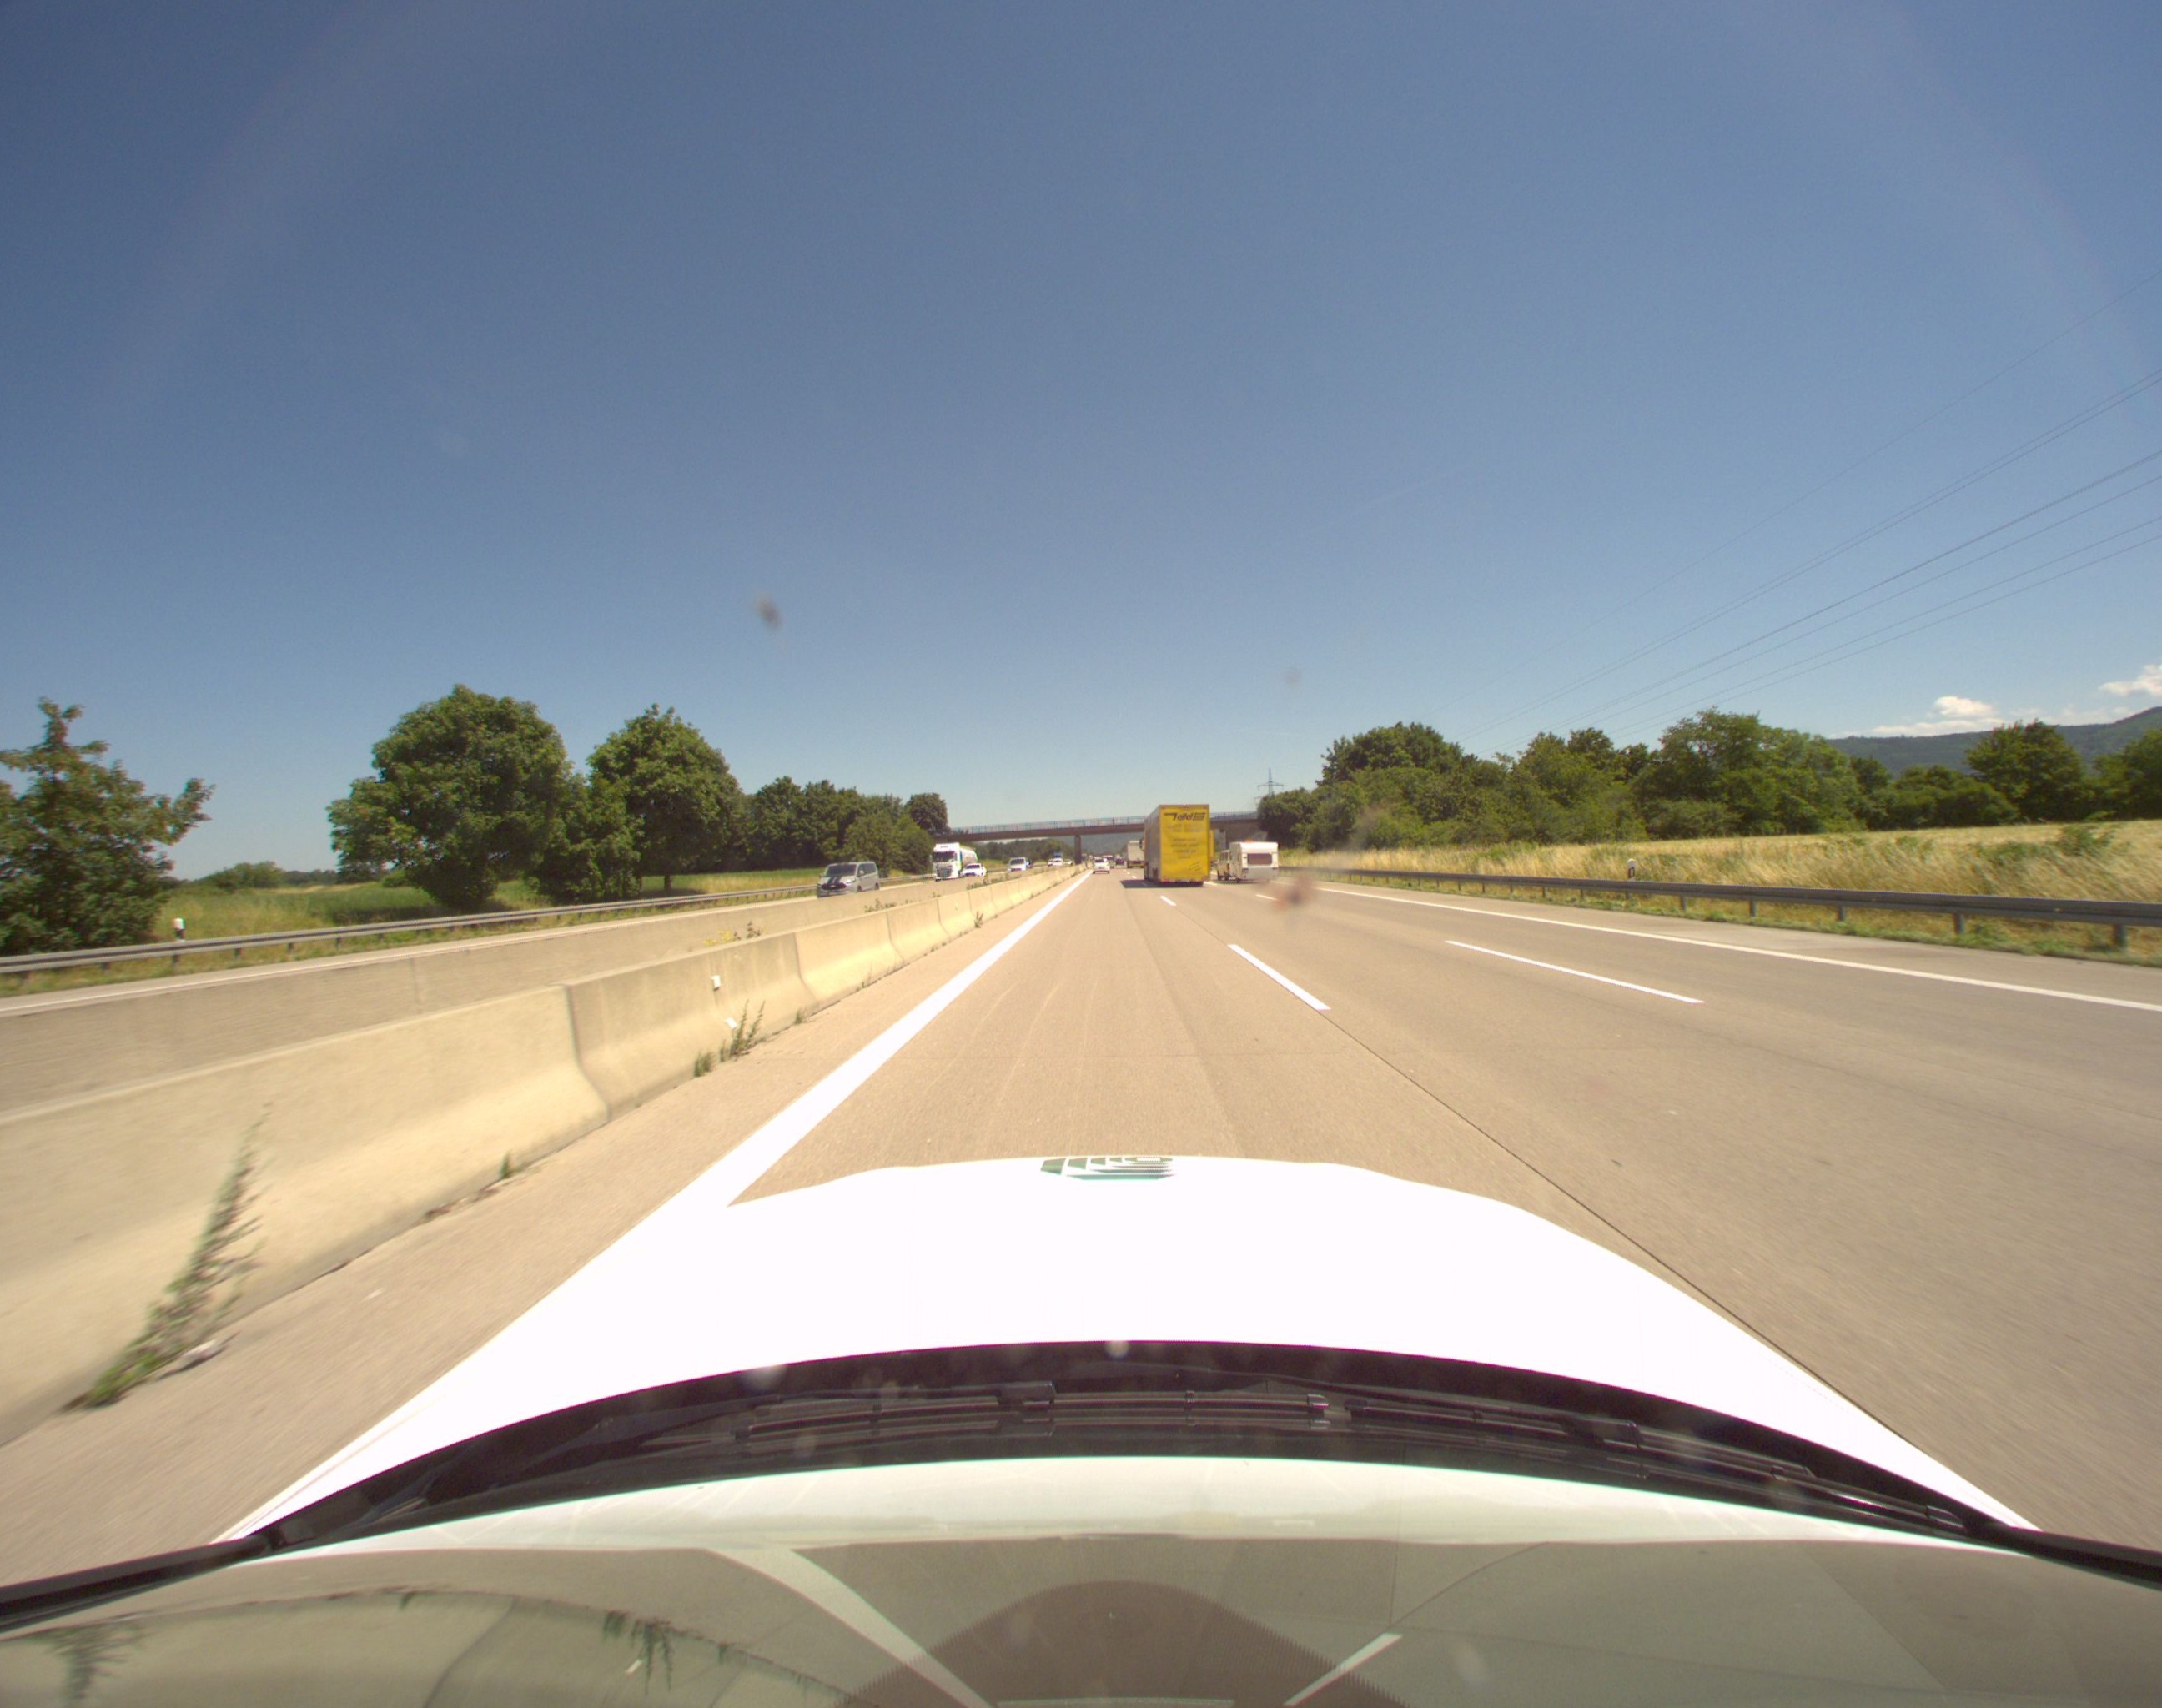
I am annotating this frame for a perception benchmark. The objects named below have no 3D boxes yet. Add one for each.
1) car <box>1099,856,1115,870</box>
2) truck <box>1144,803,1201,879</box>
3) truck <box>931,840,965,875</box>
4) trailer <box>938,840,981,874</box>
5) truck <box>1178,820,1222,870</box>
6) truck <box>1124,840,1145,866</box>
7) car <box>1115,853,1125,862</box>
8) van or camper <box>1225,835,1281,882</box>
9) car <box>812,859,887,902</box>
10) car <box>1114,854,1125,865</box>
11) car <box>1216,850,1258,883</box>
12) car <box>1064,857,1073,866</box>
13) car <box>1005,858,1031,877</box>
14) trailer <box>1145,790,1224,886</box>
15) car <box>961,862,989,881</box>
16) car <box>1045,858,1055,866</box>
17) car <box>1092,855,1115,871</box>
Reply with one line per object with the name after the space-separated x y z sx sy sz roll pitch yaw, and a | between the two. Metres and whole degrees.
3.752 1.315 118.918 2.245 2.013 4.300 0 0 3 | car
5.738 -0.782 52.113 3.203 4.563 5.839 0 0 2 | truck
-14.076 0.344 86.519 2.592 3.589 4.721 0 0 2 | truck
-13.844 0.297 93.794 2.564 3.630 12.860 0 0 2 | trailer
11.031 -0.788 76.353 2.987 4.314 9.688 0 0 2 | truck
7.705 -0.140 118.035 2.809 3.761 6.286 0 0 2 | truck
8.446 0.795 175.951 2.214 2.013 4.001 0 0 1 | car
9.732 0.251 46.588 2.216 2.531 5.433 0 0 2 | van or camper
-11.758 1.279 41.817 1.986 1.939 5.691 -4 0 2 | car
7.749 1.089 163.752 1.986 2.013 4.001 0 0 1 | car
9.802 0.757 51.361 1.986 2.013 4.001 0 0 1 | car
-2.814 1.694 183.134 1.859 1.839 4.791 -2 0 2 | car
-6.349 1.375 82.590 1.986 1.735 5.116 -4 0 1 | car
5.476 -0.772 45.807 3.203 4.563 13.464 0 0 2 | trailer
-10.311 1.693 79.375 1.916 1.611 4.687 -3 0 2 | car
-7.121 1.871 189.321 1.986 1.806 4.001 0 0 1 | car
2.270 0.912 81.294 2.098 1.536 4.125 0 0 3 | car
